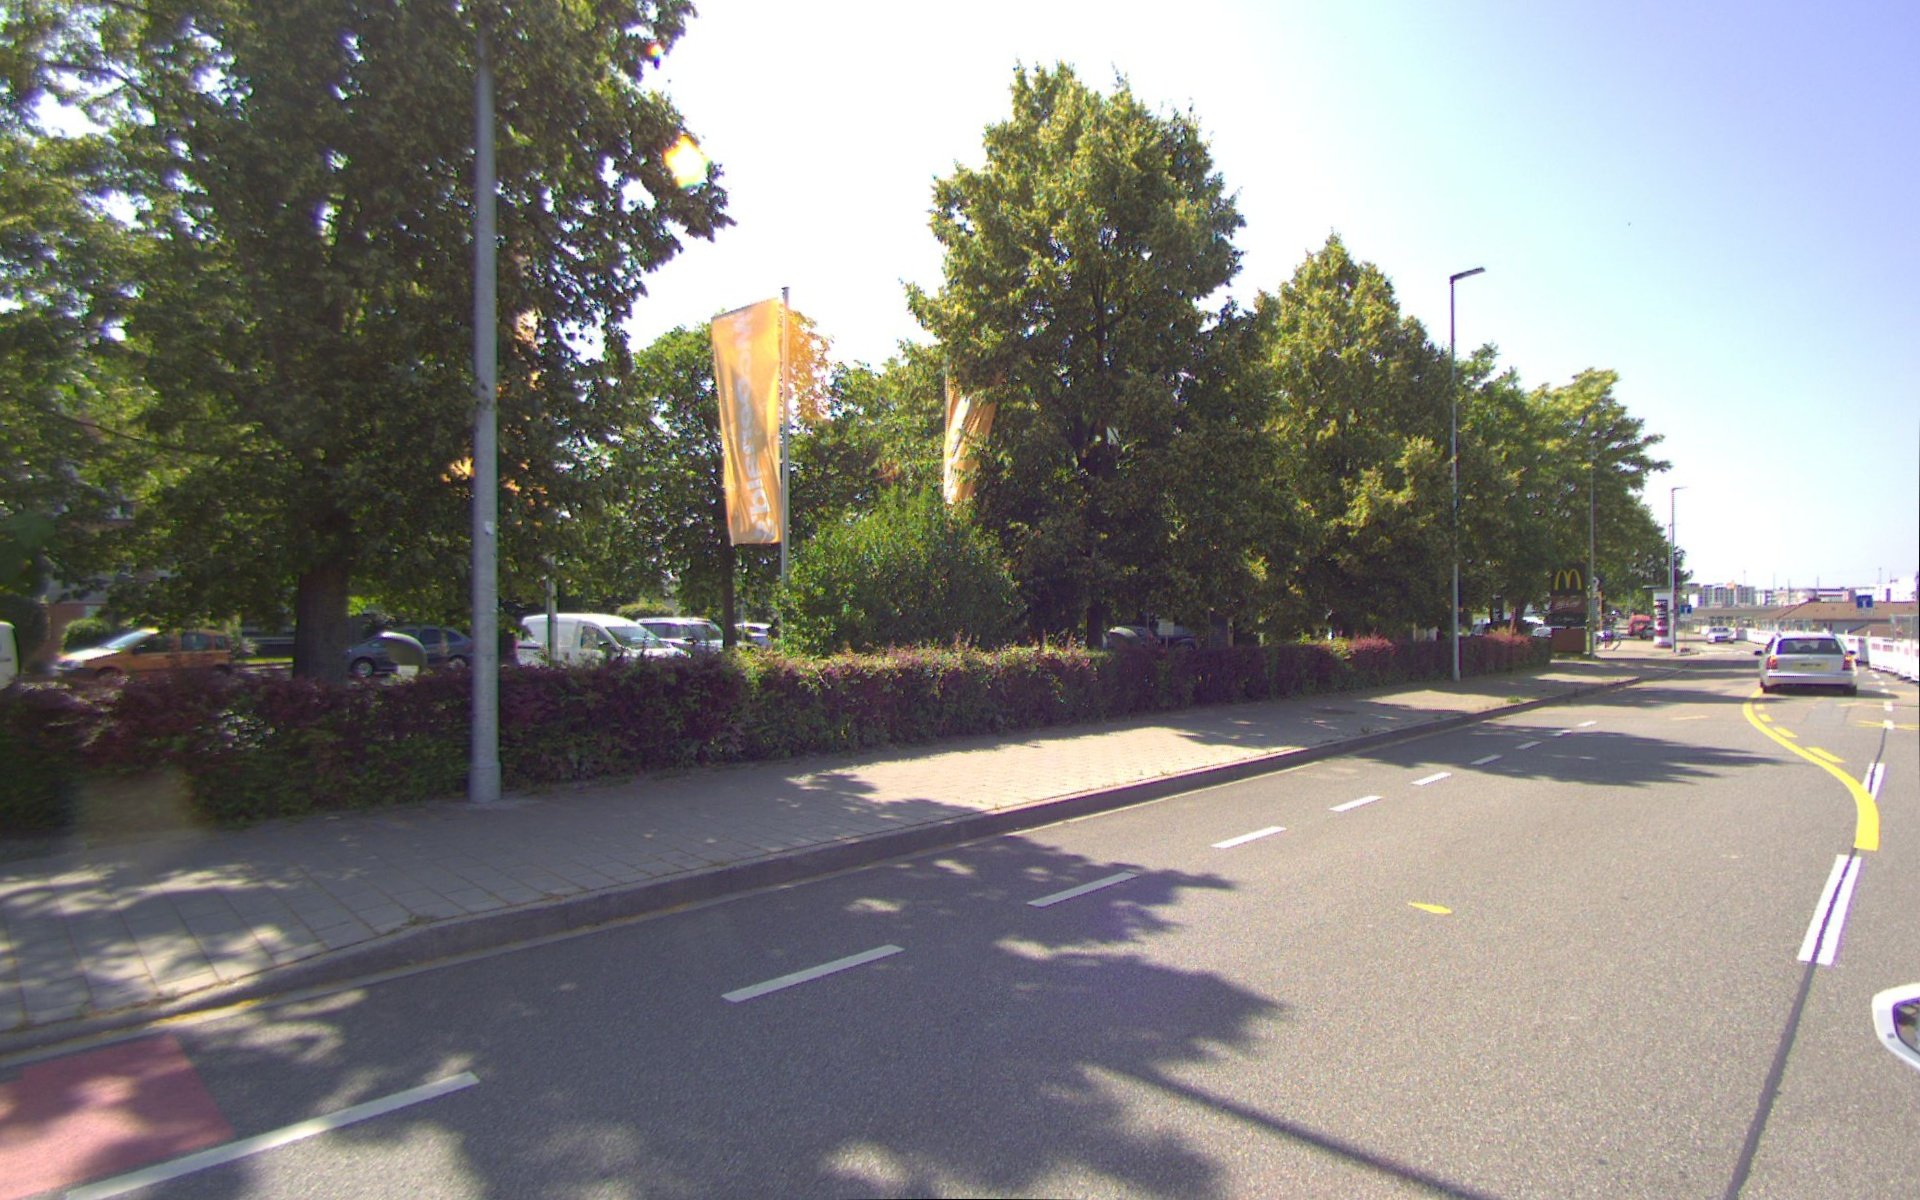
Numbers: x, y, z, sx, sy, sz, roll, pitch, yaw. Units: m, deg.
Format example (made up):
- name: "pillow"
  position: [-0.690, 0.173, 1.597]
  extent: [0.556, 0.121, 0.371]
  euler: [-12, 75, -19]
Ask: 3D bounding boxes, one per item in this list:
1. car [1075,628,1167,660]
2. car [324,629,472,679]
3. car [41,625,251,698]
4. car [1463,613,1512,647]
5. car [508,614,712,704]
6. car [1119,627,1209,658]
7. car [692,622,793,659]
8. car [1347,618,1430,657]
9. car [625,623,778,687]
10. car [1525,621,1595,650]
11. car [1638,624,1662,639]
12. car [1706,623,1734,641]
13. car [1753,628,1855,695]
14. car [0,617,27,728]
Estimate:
- name: "car"
  position: [7.667, 2.072, 47.890]
  extent: [3.998, 1.414, 1.624]
  euler: [0, -1, 30]
- name: "car"
  position: [-18.523, 1.739, 33.154]
  extent: [4.130, 1.537, 1.747]
  euler: [1, -1, -34]
- name: "car"
  position: [-20.187, 1.456, 25.058]
  extent: [1.639, 1.653, 3.717]
  euler: [0, -1, 30]
- name: "car"
  position: [44.250, 2.548, 84.197]
  extent: [2.251, 2.794, 6.121]
  euler: [-2, -3, 41]
- name: "car"
  position: [-7.785, 1.244, 22.314]
  extent: [4.271, 1.852, 1.748]
  euler: [-1, 0, 24]
- name: "car"
  position: [10.065, 2.081, 49.640]
  extent: [4.022, 1.406, 1.767]
  euler: [0, -1, 30]
- name: "car"
  position: [-9.282, 1.683, 42.809]
  extent: [3.974, 1.469, 1.792]
  euler: [0, -1, 29]
- name: "car"
  position: [24.927, 2.219, 58.597]
  extent: [1.862, 1.945, 4.511]
  euler: [-2, -4, -17]
- name: "car"
  position: [-7.102, 1.449, 27.627]
  extent: [3.740, 1.604, 1.903]
  euler: [0, -1, 26]
- name: "car"
  position: [41.196, 2.502, 69.131]
  extent: [1.942, 1.728, 4.667]
  euler: [-2, -5, 0]
- name: "car"
  position: [72.697, 3.298, 105.780]
  extent: [1.846, 1.518, 4.015]
  euler: [-3, -2, 37]
- name: "car"
  position: [66.499, 2.814, 87.984]
  extent: [1.655, 1.512, 4.593]
  euler: [-2, -2, 34]
- name: "car"
  position: [20.310, 1.440, 24.207]
  extent: [1.689, 1.422, 4.365]
  euler: [-4, -3, 40]
- name: "car"
  position: [-17.251, 1.165, 15.226]
  extent: [1.725, 1.822, 4.228]
  euler: [0, -1, 21]
